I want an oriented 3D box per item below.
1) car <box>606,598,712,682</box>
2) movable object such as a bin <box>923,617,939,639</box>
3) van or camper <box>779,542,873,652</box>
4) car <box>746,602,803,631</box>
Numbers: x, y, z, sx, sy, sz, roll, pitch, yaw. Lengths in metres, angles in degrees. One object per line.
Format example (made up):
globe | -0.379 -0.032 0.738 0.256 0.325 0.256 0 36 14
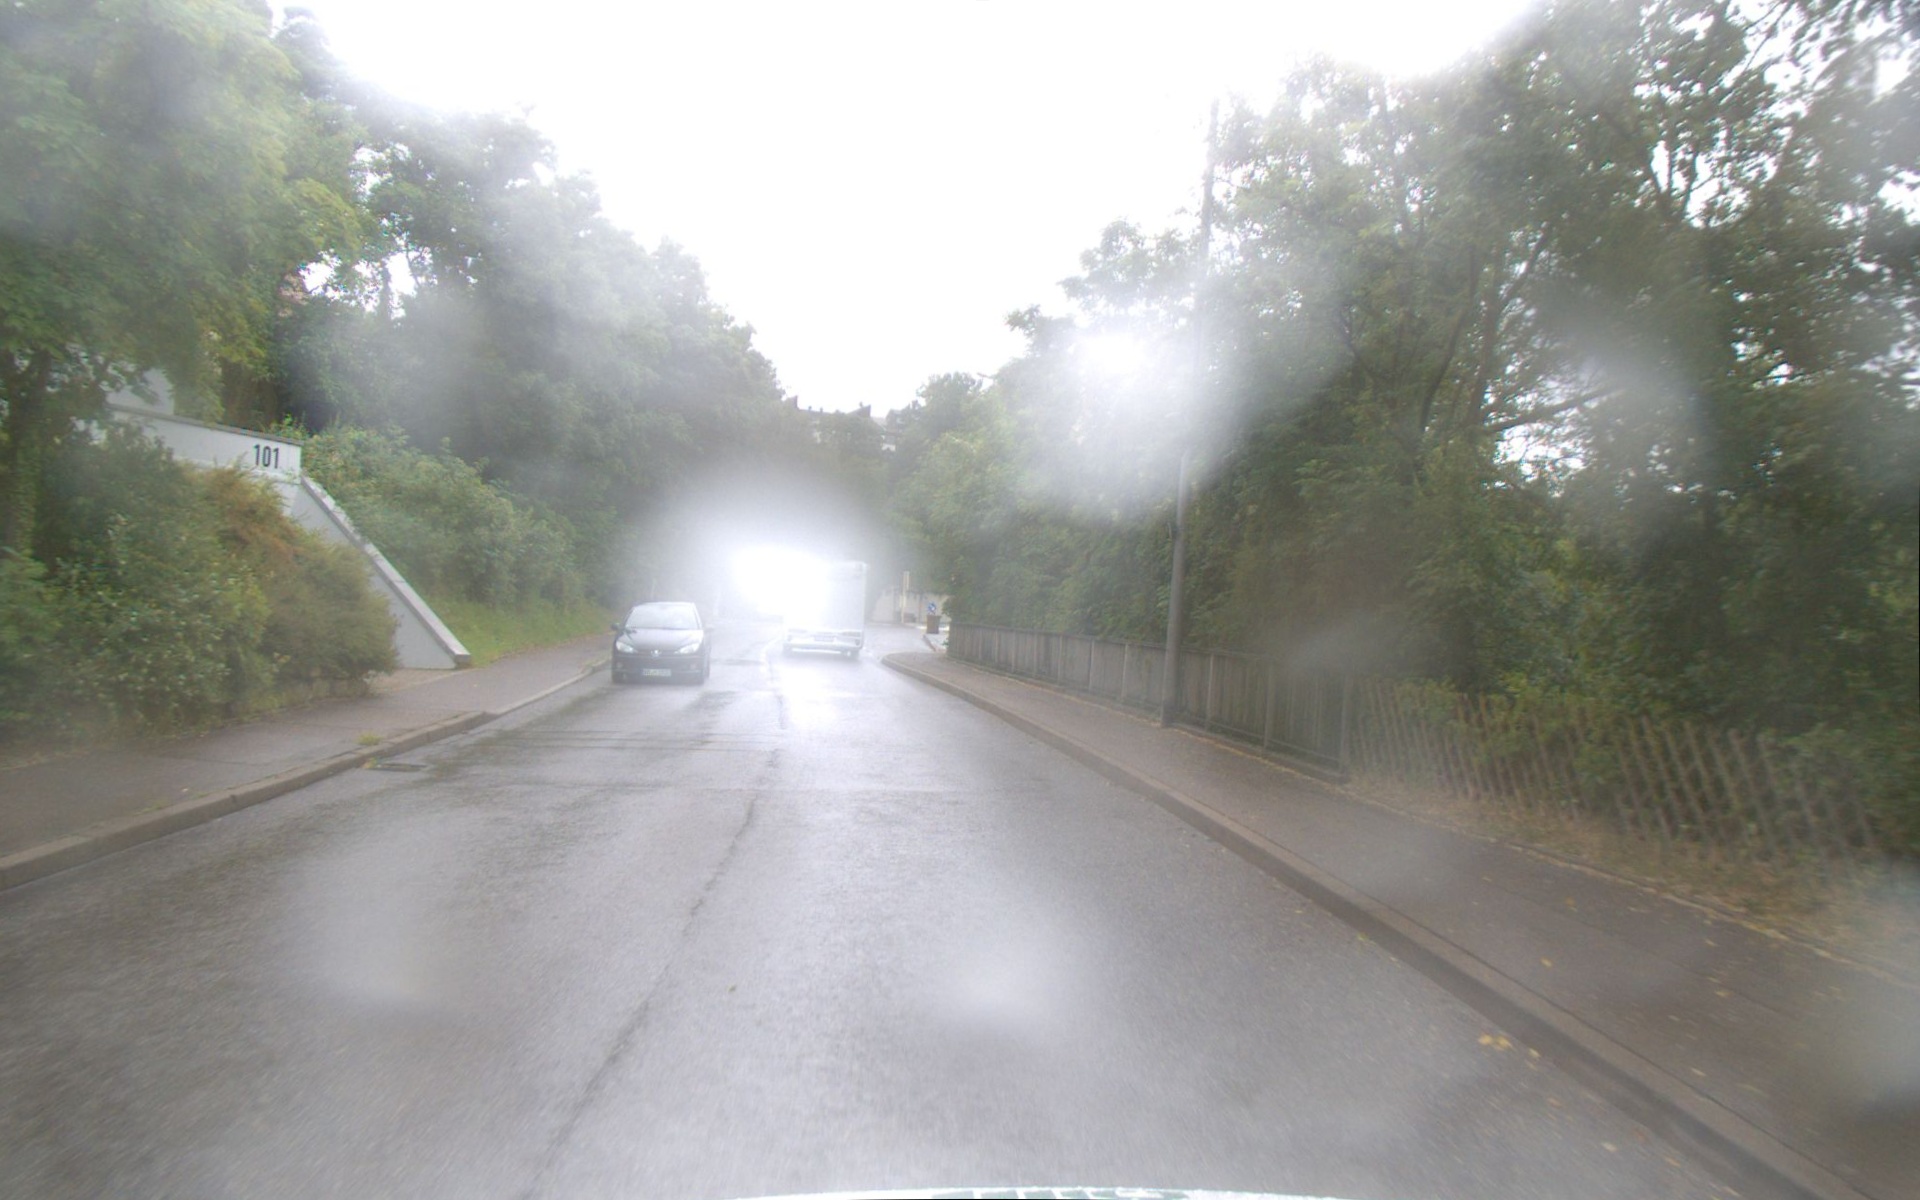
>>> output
car | -5.420 0.688 30.114 1.619 1.409 3.524 1 0 -6
movable object such as a bin | -1.631 1.582 93.461 0.761 1.153 0.738 3 -1 3
van or camper | -3.991 -0.023 48.279 2.492 2.976 5.938 -1 -1 -7
car | -11.256 1.016 100.926 1.951 1.589 4.656 4 0 13
